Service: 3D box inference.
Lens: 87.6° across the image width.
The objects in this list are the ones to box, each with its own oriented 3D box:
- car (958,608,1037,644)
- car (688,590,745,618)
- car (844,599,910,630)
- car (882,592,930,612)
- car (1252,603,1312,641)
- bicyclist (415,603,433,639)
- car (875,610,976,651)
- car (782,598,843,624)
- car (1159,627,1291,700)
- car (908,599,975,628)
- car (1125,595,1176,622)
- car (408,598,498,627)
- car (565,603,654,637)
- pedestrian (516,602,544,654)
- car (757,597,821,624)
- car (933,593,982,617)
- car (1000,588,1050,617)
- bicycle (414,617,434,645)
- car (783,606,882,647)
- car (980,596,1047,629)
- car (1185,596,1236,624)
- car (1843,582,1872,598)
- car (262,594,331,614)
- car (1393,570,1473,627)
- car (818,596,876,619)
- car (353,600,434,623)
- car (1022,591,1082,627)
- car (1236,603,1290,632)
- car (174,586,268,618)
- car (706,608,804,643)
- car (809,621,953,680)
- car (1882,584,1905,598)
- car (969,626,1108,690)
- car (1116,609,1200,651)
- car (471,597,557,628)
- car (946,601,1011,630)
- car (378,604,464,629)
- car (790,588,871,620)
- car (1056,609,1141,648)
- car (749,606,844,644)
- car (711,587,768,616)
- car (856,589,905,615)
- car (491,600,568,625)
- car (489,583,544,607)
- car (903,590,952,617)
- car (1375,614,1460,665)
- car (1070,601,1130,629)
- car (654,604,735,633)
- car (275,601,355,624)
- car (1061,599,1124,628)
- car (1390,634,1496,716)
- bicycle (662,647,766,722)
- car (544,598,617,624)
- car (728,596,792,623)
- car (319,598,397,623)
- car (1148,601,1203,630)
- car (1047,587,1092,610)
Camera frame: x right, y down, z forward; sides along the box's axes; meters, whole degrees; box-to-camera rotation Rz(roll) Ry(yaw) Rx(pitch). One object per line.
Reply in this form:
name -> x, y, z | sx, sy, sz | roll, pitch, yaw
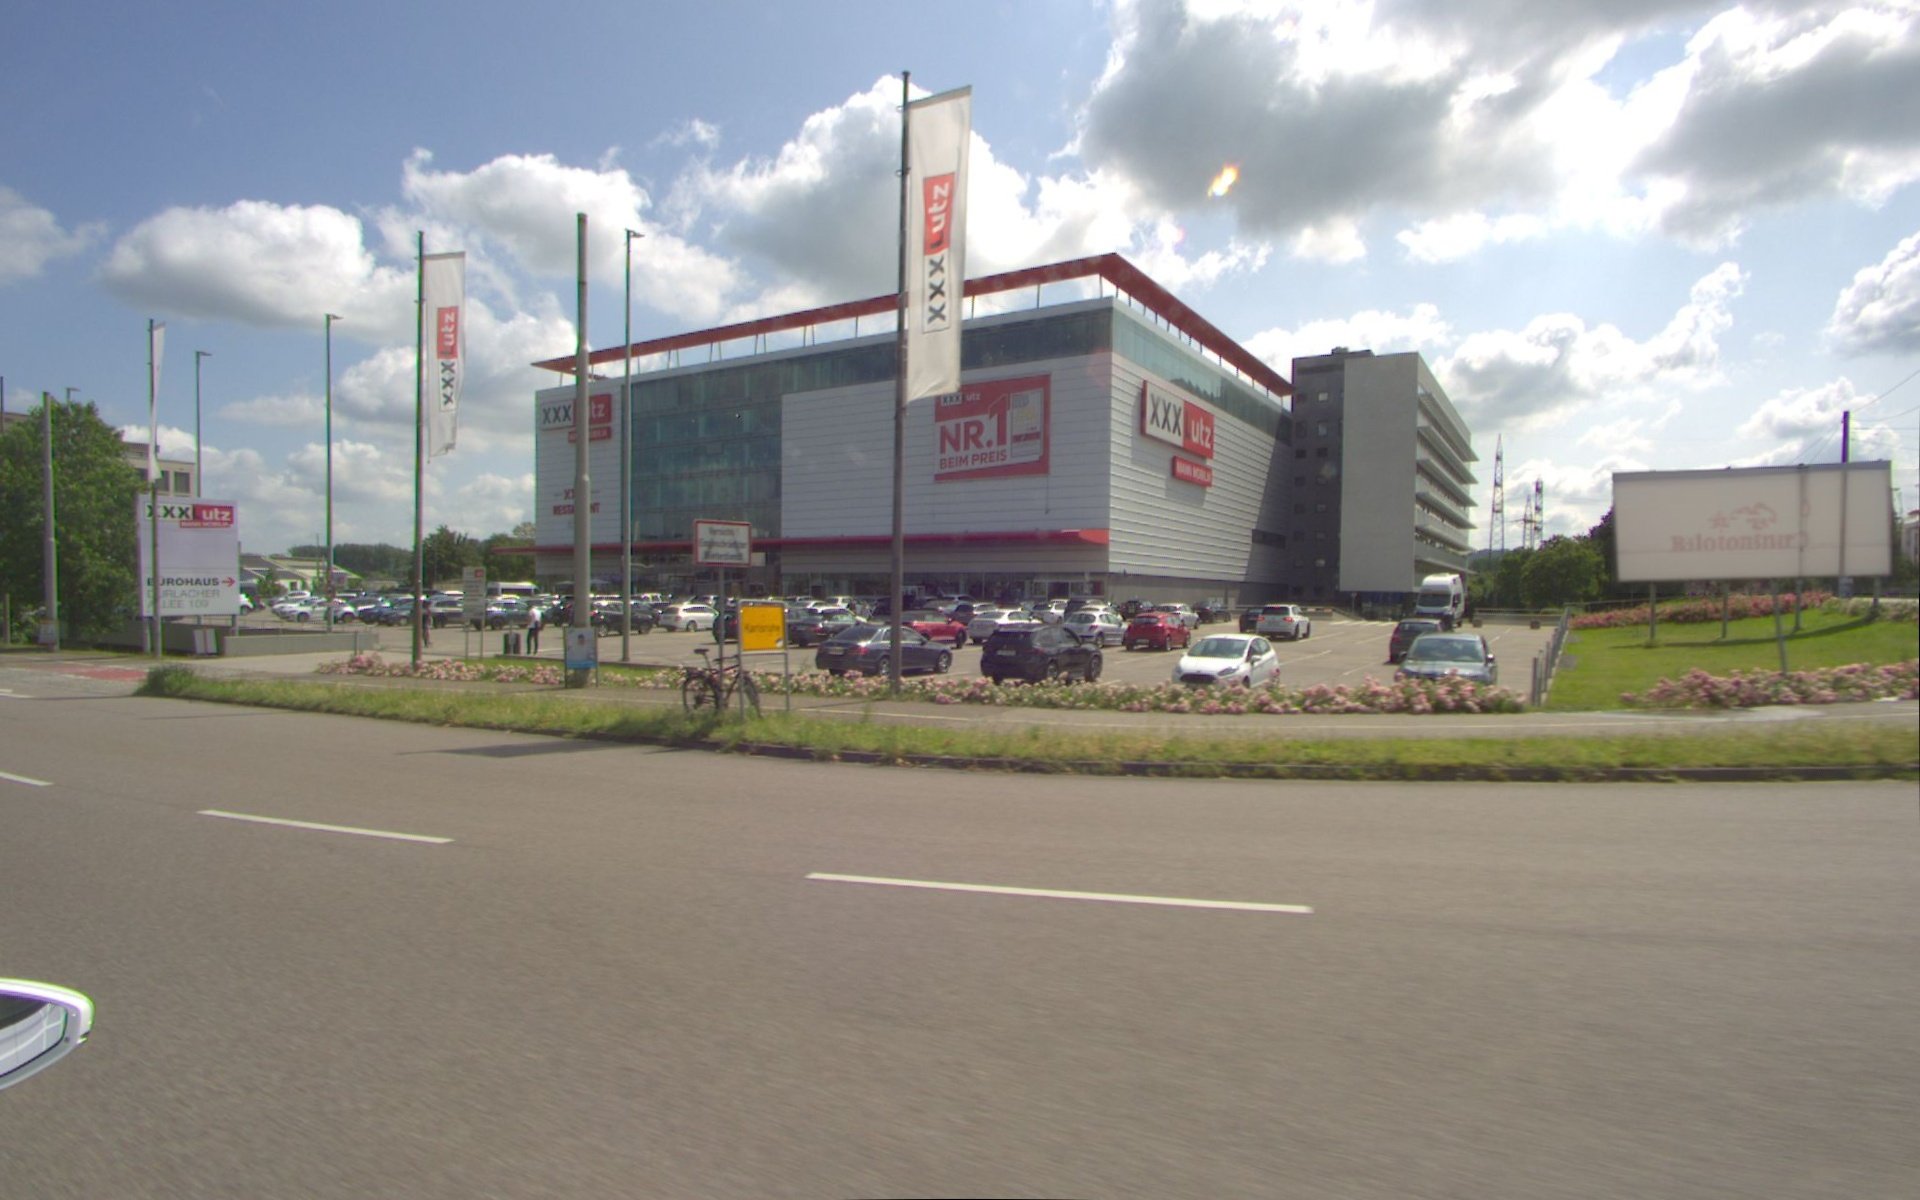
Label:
car -> 1.693, 1.111, 43.949 | 1.580, 1.381, 4.013 | 2, 2, 34
car -> -18.630, 0.344, 76.688 | 1.971, 2.040, 3.980 | 1, 0, 32
car -> -4.598, 0.792, 55.952 | 1.670, 1.609, 4.008 | 2, 1, 31
car -> -4.247, 0.161, 79.375 | 1.714, 1.498, 4.158 | 1, 0, 32
car -> 15.208, 0.978, 47.170 | 1.825, 1.609, 4.217 | 1, 2, 30
bicyclist -> -22.028, 0.862, 41.156 | 0.608, 1.432, 0.710 | 0, 1, -31
car -> -1.300, 1.167, 39.670 | 1.821, 1.381, 4.346 | 2, 2, 34
car -> -9.211, 0.676, 62.939 | 1.679, 1.531, 4.148 | 1, 1, 29
car -> 6.331, 1.415, 23.587 | 1.771, 1.459, 4.349 | 0, 0, 33
car -> -1.031, 0.777, 58.273 | 1.972, 1.528, 3.976 | -1, 1, 33
car -> 13.063, 0.580, 68.584 | 1.972, 1.762, 3.977 | 1, 0, 34
car -> -29.705, 0.703, 58.792 | 2.000, 1.595, 4.350 | 1, 1, 31
car -> -17.384, 0.959, 49.850 | 1.715, 1.552, 4.048 | 0, 1, 29
pedestrian -> -15.401, 0.999, 35.865 | 0.859, 1.806, 0.780 | 1, 0, -27
car -> -11.044, 0.631, 64.867 | 1.825, 1.609, 4.217 | 1, 2, 30
car -> -0.179, 0.419, 76.378 | 1.970, 1.746, 3.981 | 1, 0, 31
car -> 4.780, 0.194, 73.033 | 1.971, 2.040, 3.980 | 1, 0, 32
bicycle -> -22.073, 1.276, 41.231 | 0.616, 1.082, 1.956 | -1, 1, -31
car -> -5.320, 1.070, 42.296 | 1.659, 1.529, 4.346 | 0, 1, 34
car -> 3.000, 0.700, 55.715 | 1.973, 1.762, 3.976 | -1, 0, 34
car -> 16.451, 0.649, 65.564 | 1.972, 1.762, 3.977 | 1, 0, 34
car -> 140.138, -1.602, 156.333 | 2.116, 2.390, 5.459 | 0, 0, 29
car -> -51.742, 0.296, 78.197 | 1.701, 1.454, 4.174 | 1, 2, 32
car -> 28.562, -0.037, 60.253 | 3.080, 3.196, 7.856 | -1, 0, 35
car -> -7.807, 0.557, 69.416 | 1.681, 1.531, 4.332 | 1, 0, 32
car -> -35.543, 0.704, 62.942 | 1.663, 1.343, 4.174 | 0, 1, 32
car -> 5.574, 0.564, 60.122 | 1.972, 2.040, 3.978 | -1, -1, 33
car -> 16.221, 0.949, 53.529 | 1.891, 1.459, 3.983 | 0, -1, 30
car -> -58.071, 0.181, 78.782 | 2.031, 2.397, 5.650 | 0, -1, 31
car -> -9.180, 1.107, 45.157 | 1.821, 1.381, 4.346 | 2, 2, 34
car -> -2.176, 1.376, 28.664 | 1.831, 1.496, 4.348 | 0, -1, 34
car -> 133.719, -1.326, 143.494 | 1.640, 1.884, 3.576 | 1, 0, 31
car -> 2.144, 1.443, 26.171 | 1.830, 1.435, 4.349 | 0, 0, 33
car -> 8.057, 1.175, 40.502 | 1.821, 1.447, 4.346 | 2, 2, 34
car -> -25.166, 0.676, 56.615 | 1.738, 1.573, 4.174 | 1, 2, 31
car -> 1.063, 0.863, 56.958 | 1.825, 1.572, 4.038 | 0, 0, 34
car -> -32.803, 0.976, 61.062 | 1.738, 1.343, 4.350 | 1, 1, 31
car -> -6.406, 0.226, 49.923 | 1.800, 1.528, 4.141 | 1, 0, 33
car -> 5.869, 1.164, 41.970 | 1.821, 1.381, 4.346 | 2, 2, 34
car -> -7.143, 1.058, 44.133 | 1.604, 1.462, 4.346 | 2, 2, 34
car -> -16.426, 0.116, 74.718 | 1.971, 2.040, 3.980 | 1, 0, 32
car -> -6.378, 0.186, 80.467 | 1.970, 2.040, 3.981 | 1, 0, 31
car -> -26.955, 0.796, 62.757 | 1.734, 1.483, 4.233 | 1, 0, 31
car -> -38.860, -0.425, 87.771 | 1.971, 1.977, 3.979 | 1, 0, 32
car -> -2.483, 0.290, 77.760 | 1.970, 2.040, 3.981 | 1, 0, 31
car -> 15.972, 1.320, 34.852 | 2.020, 1.428, 4.346 | 1, 2, 34
car -> 7.547, 0.802, 53.686 | 1.645, 1.471, 3.978 | 1, 0, 33
car -> -14.483, 0.985, 54.825 | 1.734, 1.447, 4.280 | 2, 1, 32
car -> -43.925, 0.817, 68.283 | 1.864, 1.408, 4.177 | 1, 1, 29
car -> 7.721, 0.795, 58.084 | 1.971, 1.608, 4.216 | 1, 0, 33
car -> 10.226, 1.489, 21.054 | 1.690, 1.437, 3.981 | -1, 0, 31
bicycle -> -3.454, 1.156, 14.007 | 1.522, 0.965, 0.516 | -1, -1, 33
car -> -22.996, 0.626, 60.811 | 1.702, 1.484, 3.979 | 1, 1, 31
car -> -13.179, 0.601, 66.172 | 1.825, 1.609, 4.217 | 1, 2, 30
car -> -39.676, 0.694, 66.039 | 1.970, 1.591, 3.982 | 0, -1, 30
car -> 12.147, 0.847, 56.206 | 1.891, 1.550, 3.982 | 1, 0, 30
car -> 7.717, -0.095, 70.392 | 1.656, 1.543, 3.633 | 1, 0, 33
